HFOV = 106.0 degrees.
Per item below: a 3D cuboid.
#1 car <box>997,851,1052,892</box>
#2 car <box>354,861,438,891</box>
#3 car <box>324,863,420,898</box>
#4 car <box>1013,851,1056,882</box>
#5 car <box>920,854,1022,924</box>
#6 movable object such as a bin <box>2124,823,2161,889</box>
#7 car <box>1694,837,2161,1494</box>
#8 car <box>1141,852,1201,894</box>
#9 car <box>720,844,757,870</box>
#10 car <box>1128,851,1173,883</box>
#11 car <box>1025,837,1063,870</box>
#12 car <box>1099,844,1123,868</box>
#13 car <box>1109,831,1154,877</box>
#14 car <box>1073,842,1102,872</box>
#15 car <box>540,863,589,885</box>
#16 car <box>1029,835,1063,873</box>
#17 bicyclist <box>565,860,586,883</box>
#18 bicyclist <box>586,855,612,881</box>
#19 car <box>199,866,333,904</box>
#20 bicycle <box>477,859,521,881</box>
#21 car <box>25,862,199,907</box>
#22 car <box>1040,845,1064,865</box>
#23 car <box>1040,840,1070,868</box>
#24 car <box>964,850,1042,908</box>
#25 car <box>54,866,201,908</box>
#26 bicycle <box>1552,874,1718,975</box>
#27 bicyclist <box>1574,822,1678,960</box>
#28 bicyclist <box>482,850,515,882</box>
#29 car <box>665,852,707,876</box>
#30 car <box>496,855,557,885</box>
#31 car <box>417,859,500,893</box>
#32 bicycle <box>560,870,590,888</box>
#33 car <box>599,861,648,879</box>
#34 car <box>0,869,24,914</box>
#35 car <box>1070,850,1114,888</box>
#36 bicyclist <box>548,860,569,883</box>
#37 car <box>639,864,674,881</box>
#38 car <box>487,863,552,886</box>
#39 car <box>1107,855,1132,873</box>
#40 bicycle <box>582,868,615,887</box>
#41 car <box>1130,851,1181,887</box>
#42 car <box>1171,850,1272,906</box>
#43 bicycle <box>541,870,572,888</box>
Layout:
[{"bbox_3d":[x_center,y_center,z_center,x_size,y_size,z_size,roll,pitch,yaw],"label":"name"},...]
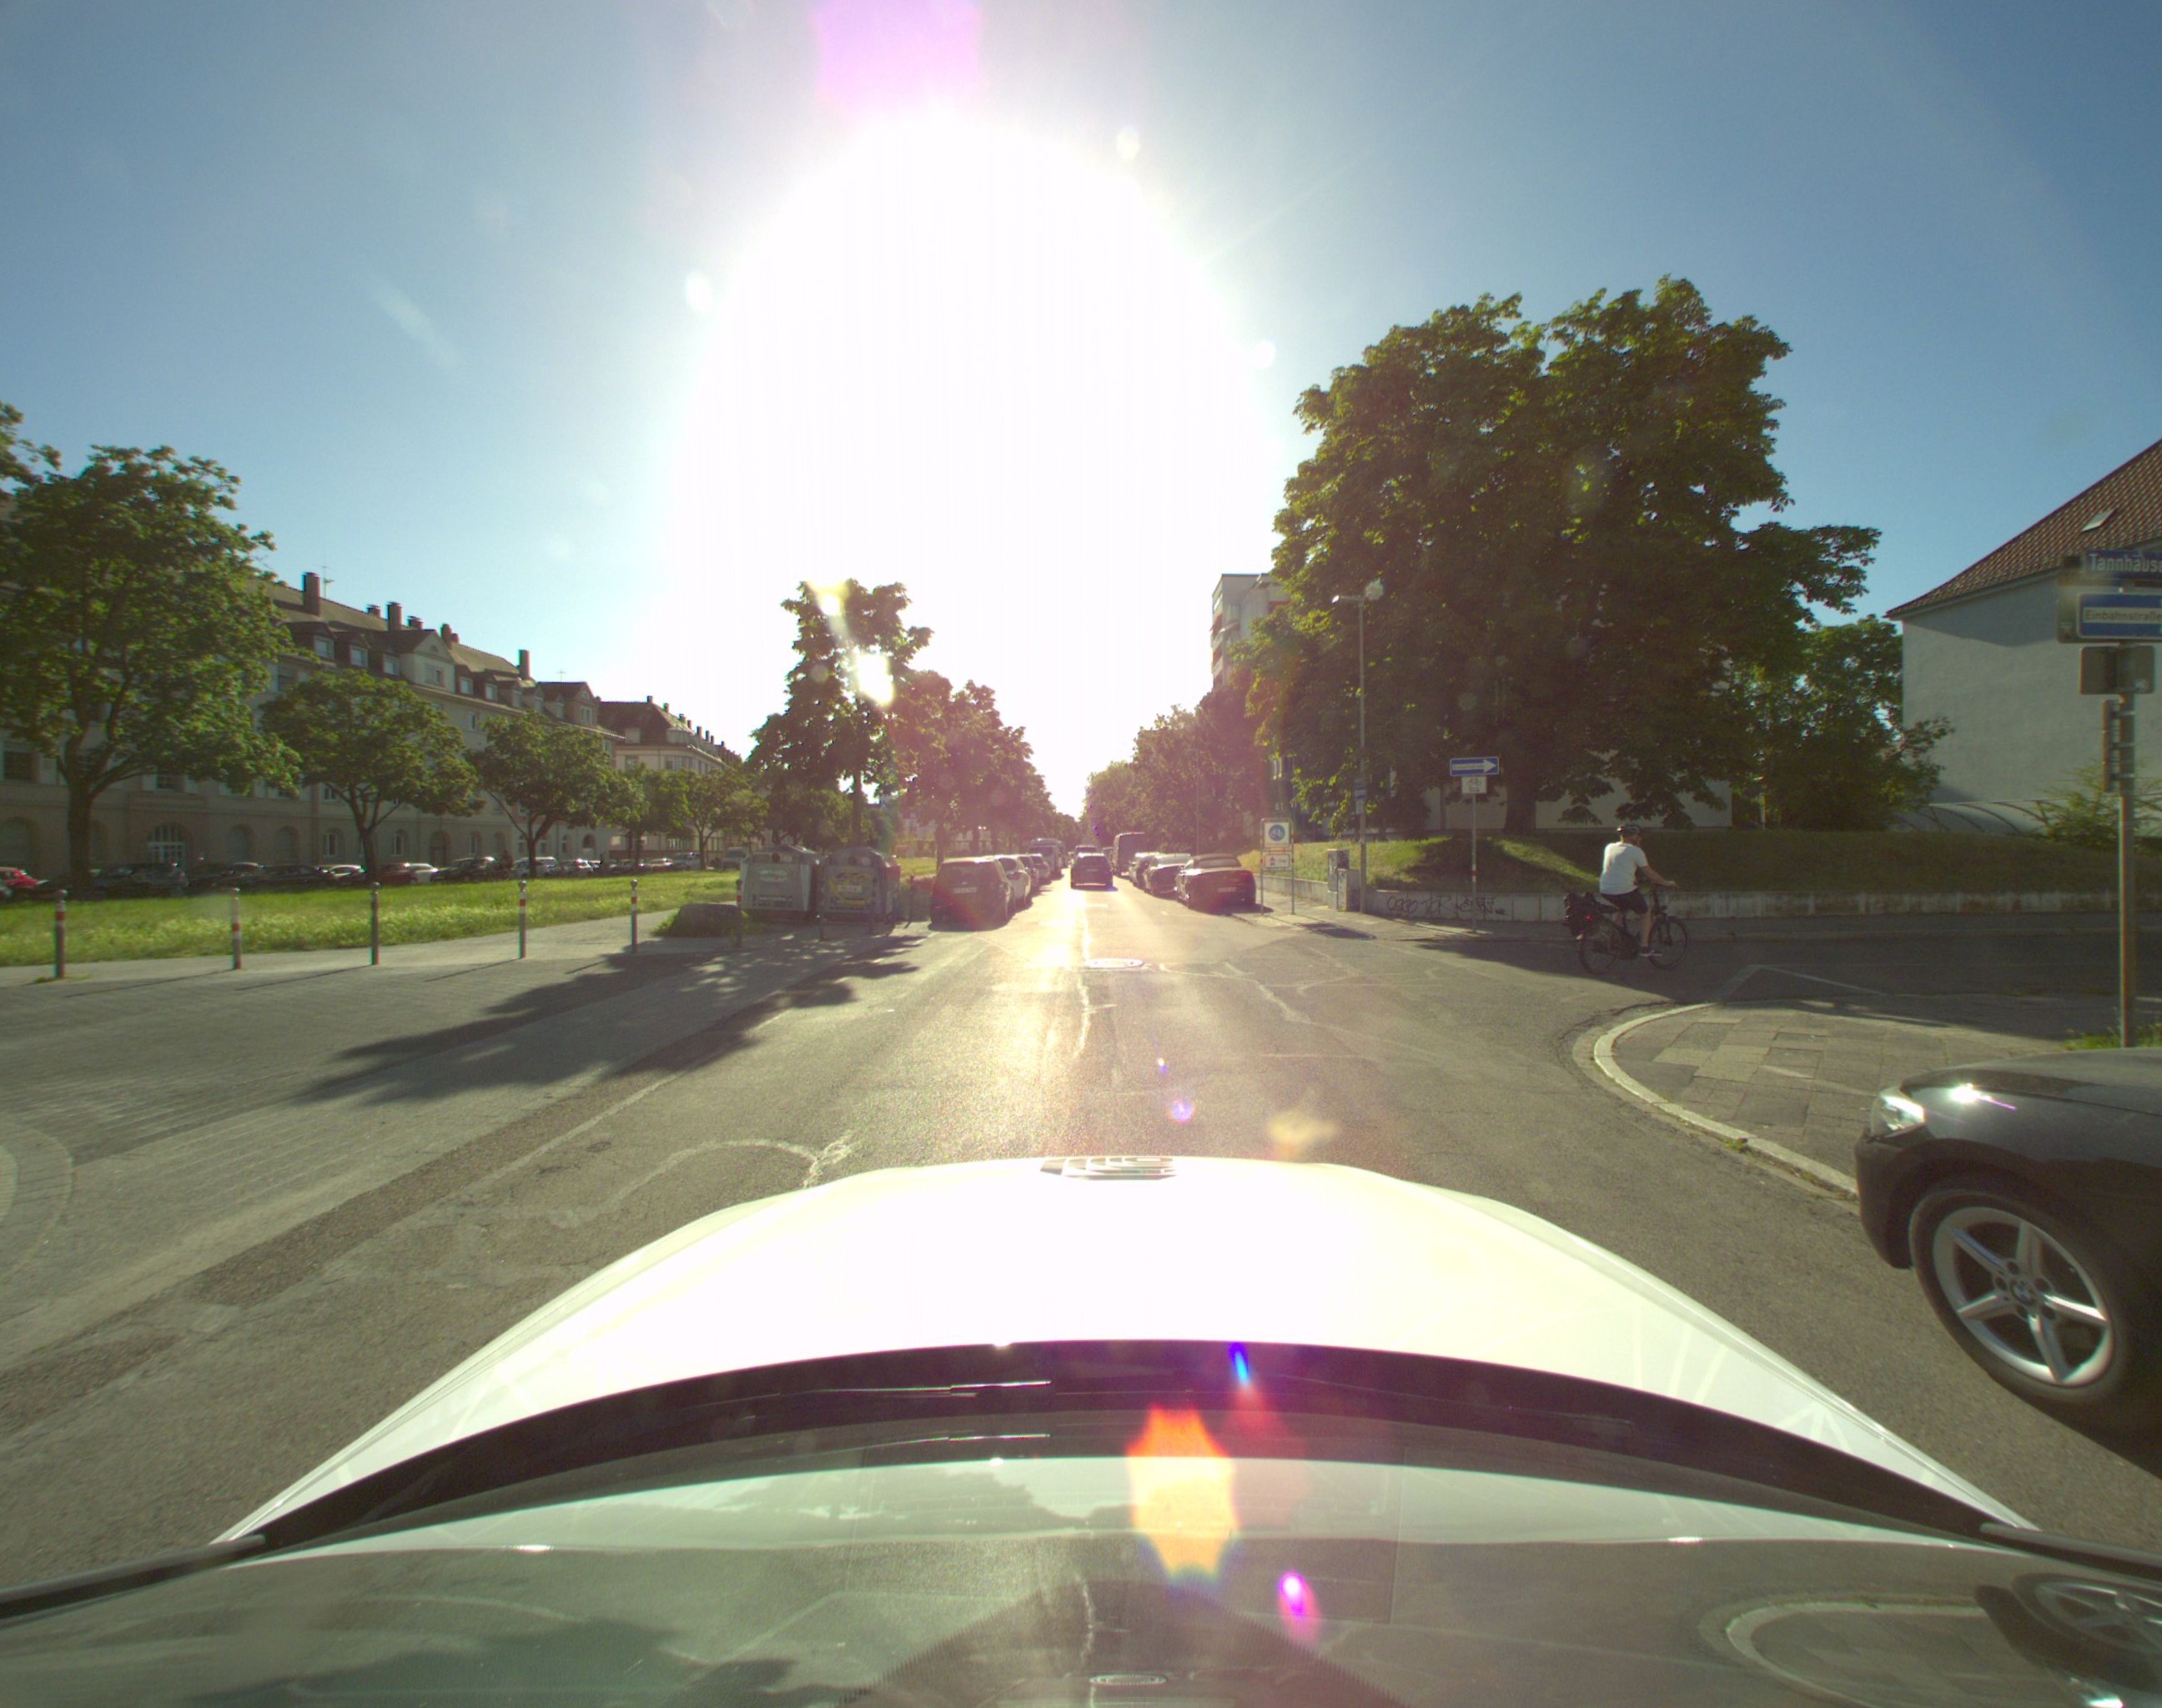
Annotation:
[{"bbox_3d":[-2.134,0.639,31.879,1.773,1.461,4.128,-1,0,1],"label":"car"},{"bbox_3d":[-43.352,1.382,51.694,1.936,1.751,4.025,-1,0,-1],"label":"car"},{"bbox_3d":[-37.572,1.365,43.318,1.627,1.686,4.077,-1,0,-2],"label":"car"},{"bbox_3d":[-2.336,0.590,41.675,1.826,1.500,4.128,-1,0,1],"label":"car"},{"bbox_3d":[-2.495,0.757,19.428,1.742,1.425,3.917,-3,-1,1],"label":"car"},{"bbox_3d":[27.183,0.039,20.031,1.183,1.613,1.463,-1,0,-1],"label":"movable object such as a bin"},{"bbox_3d":[3.477,0.719,1.034,1.953,1.481,4.497,-2,0,-1],"label":"car"},{"bbox_3d":[3.155,0.638,29.146,1.773,1.371,4.128,-1,0,1],"label":"car"},{"bbox_3d":[-37.861,0.292,90.120,1.911,2.744,5.620,-1,0,-2],"label":"car"},{"bbox_3d":[3.391,0.621,40.580,1.981,1.487,4.128,-1,0,1],"label":"car"},{"bbox_3d":[-2.249,-0.049,50.142,2.091,1.942,4.127,-1,0,0],"label":"car"},{"bbox_3d":[2.892,0.202,80.234,2.156,2.292,5.264,-1,0,0],"label":"car"},{"bbox_3d":[3.080,-0.019,50.689,2.158,2.689,5.411,-1,0,-3],"label":"car"},{"bbox_3d":[0.500,0.194,58.412,1.887,1.991,4.011,-2,0,1],"label":"car"},{"bbox_3d":[-37.612,1.443,59.336,1.375,1.440,3.342,-1,0,1],"label":"car"},{"bbox_3d":[-2.379,-0.013,56.552,2.091,2.496,4.128,-1,0,1],"label":"car"},{"bbox_3d":[-32.563,1.139,52.454,0.735,1.437,0.942,-1,-1,0],"label":"bicyclist"},{"bbox_3d":[-34.191,0.998,57.759,0.939,1.837,1.449,-1,-1,-1],"label":"bicyclist"},{"bbox_3d":[-37.607,1.386,37.765,1.752,1.549,4.524,-1,0,-2],"label":"car"},{"bbox_3d":[-34.357,0.908,48.089,0.808,1.252,2.631,-1,0,-3],"label":"bicycle"},{"bbox_3d":[-37.361,1.107,31.591,1.627,1.549,4.351,-1,0,-2],"label":"car"},{"bbox_3d":[-2.671,0.094,76.344,2.002,1.785,4.128,-1,0,1],"label":"car"},{"bbox_3d":[-2.583,-0.031,82.005,2.607,2.645,6.116,-1,0,1],"label":"car"},{"bbox_3d":[-2.210,0.675,23.949,1.771,1.495,3.876,-3,0,1],"label":"car"},{"bbox_3d":[-43.113,1.455,36.982,1.839,1.701,4.003,-1,0,2],"label":"car"},{"bbox_3d":[6.751,0.829,9.941,1.762,1.127,0.660,-1,0,-13],"label":"bicycle"},{"bbox_3d":[6.602,0.424,9.894,0.789,1.596,0.693,0,0,-13],"label":"bicyclist"},{"bbox_3d":[-34.390,0.690,48.119,0.939,1.837,1.448,-1,-1,-2],"label":"bicyclist"},{"bbox_3d":[-37.603,0.906,77.669,1.690,2.213,5.004,-1,0,-2],"label":"car"},{"bbox_3d":[-43.256,1.201,63.622,1.771,2.259,4.461,-1,0,-1],"label":"car"},{"bbox_3d":[-37.610,1.271,49.363,1.732,1.908,4.457,-1,0,-2],"label":"car"},{"bbox_3d":[-32.532,1.573,52.395,0.730,1.079,1.955,-1,0,-1],"label":"bicycle"},{"bbox_3d":[-37.782,1.300,67.387,1.840,1.440,3.774,-1,0,0],"label":"car"},{"bbox_3d":[-37.547,1.292,26.243,1.690,1.526,4.077,-1,0,-2],"label":"car"},{"bbox_3d":[0.519,0.592,35.184,1.773,1.531,4.001,1,0,1],"label":"car"},{"bbox_3d":[-33.669,1.092,52.470,0.735,1.437,0.942,1,1,0],"label":"bicyclist"},{"bbox_3d":[-37.427,1.607,71.906,1.513,1.440,3.229,-1,0,-2],"label":"car"},{"bbox_3d":[-37.608,1.325,54.649,1.688,1.429,3.775,-1,0,1],"label":"car"},{"bbox_3d":[3.237,0.810,69.334,1.981,1.487,4.128,-1,0,1],"label":"car"},{"bbox_3d":[-34.219,1.645,57.803,0.808,1.252,2.633,-1,0,-1],"label":"bicycle"},{"bbox_3d":[3.200,0.606,35.520,1.774,1.487,4.030,-1,0,-1],"label":"car"},{"bbox_3d":[3.860,0.603,23.195,2.117,1.337,4.507,-3,0,1],"label":"car"},{"bbox_3d":[-33.723,1.605,52.419,0.730,1.079,1.955,-1,0,-1],"label":"bicycle"}]
